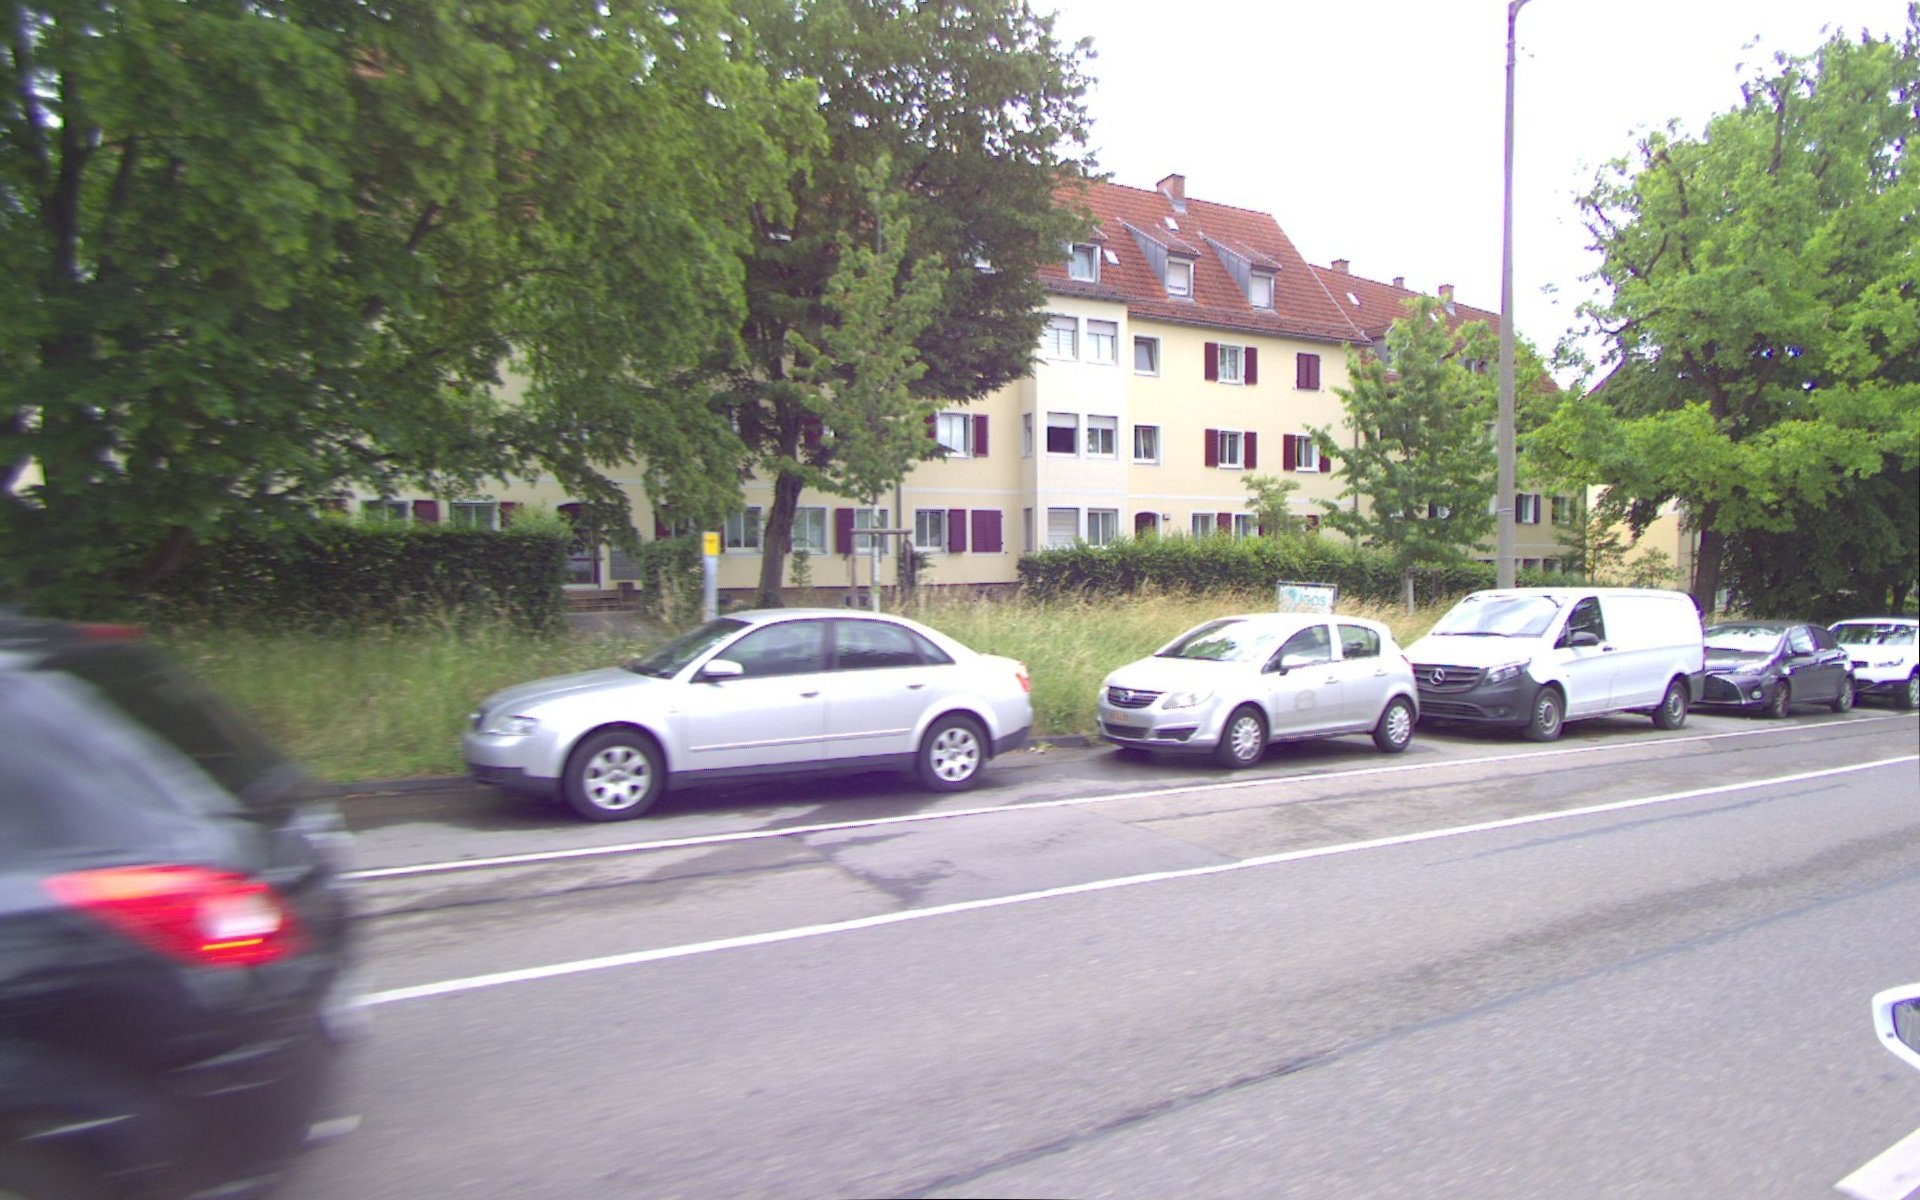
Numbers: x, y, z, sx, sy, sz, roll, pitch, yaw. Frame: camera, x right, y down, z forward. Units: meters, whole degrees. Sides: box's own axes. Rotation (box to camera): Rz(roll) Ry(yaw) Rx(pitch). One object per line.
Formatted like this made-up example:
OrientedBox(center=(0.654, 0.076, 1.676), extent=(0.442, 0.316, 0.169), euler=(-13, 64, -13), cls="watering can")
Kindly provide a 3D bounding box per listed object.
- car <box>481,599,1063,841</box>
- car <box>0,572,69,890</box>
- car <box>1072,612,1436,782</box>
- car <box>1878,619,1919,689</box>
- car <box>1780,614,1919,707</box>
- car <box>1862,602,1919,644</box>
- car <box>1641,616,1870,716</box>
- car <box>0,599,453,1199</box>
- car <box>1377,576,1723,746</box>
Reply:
OrientedBox(center=(-1.440, 0.792, 8.108), extent=(4.303, 1.515, 1.760), euler=(1, -1, -29), cls="car")
OrientedBox(center=(-6.803, 0.640, 4.371), extent=(4.087, 1.613, 1.759), euler=(1, 1, -31), cls="car")
OrientedBox(center=(3.229, 0.892, 10.767), extent=(3.909, 1.452, 1.624), euler=(0, 2, -34), cls="car")
OrientedBox(center=(22.498, 1.220, 22.689), extent=(4.047, 1.498, 1.652), euler=(1, 0, -33), cls="car")
OrientedBox(center=(17.579, 1.094, 19.210), extent=(4.234, 1.585, 1.664), euler=(1, 0, -32), cls="car")
OrientedBox(center=(38.394, 1.026, 39.193), extent=(1.851, 1.470, 4.401), euler=(1, 5, -35), cls="car")
OrientedBox(center=(13.436, 1.047, 16.918), extent=(3.996, 1.507, 1.666), euler=(1, -1, -30), cls="car")
OrientedBox(center=(-3.094, 0.721, 1.674), extent=(3.952, 1.487, 1.630), euler=(1, -1, -29), cls="car")
OrientedBox(center=(8.106, 0.708, 13.661), extent=(5.094, 1.957, 1.759), euler=(1, 2, -30), cls="car")
